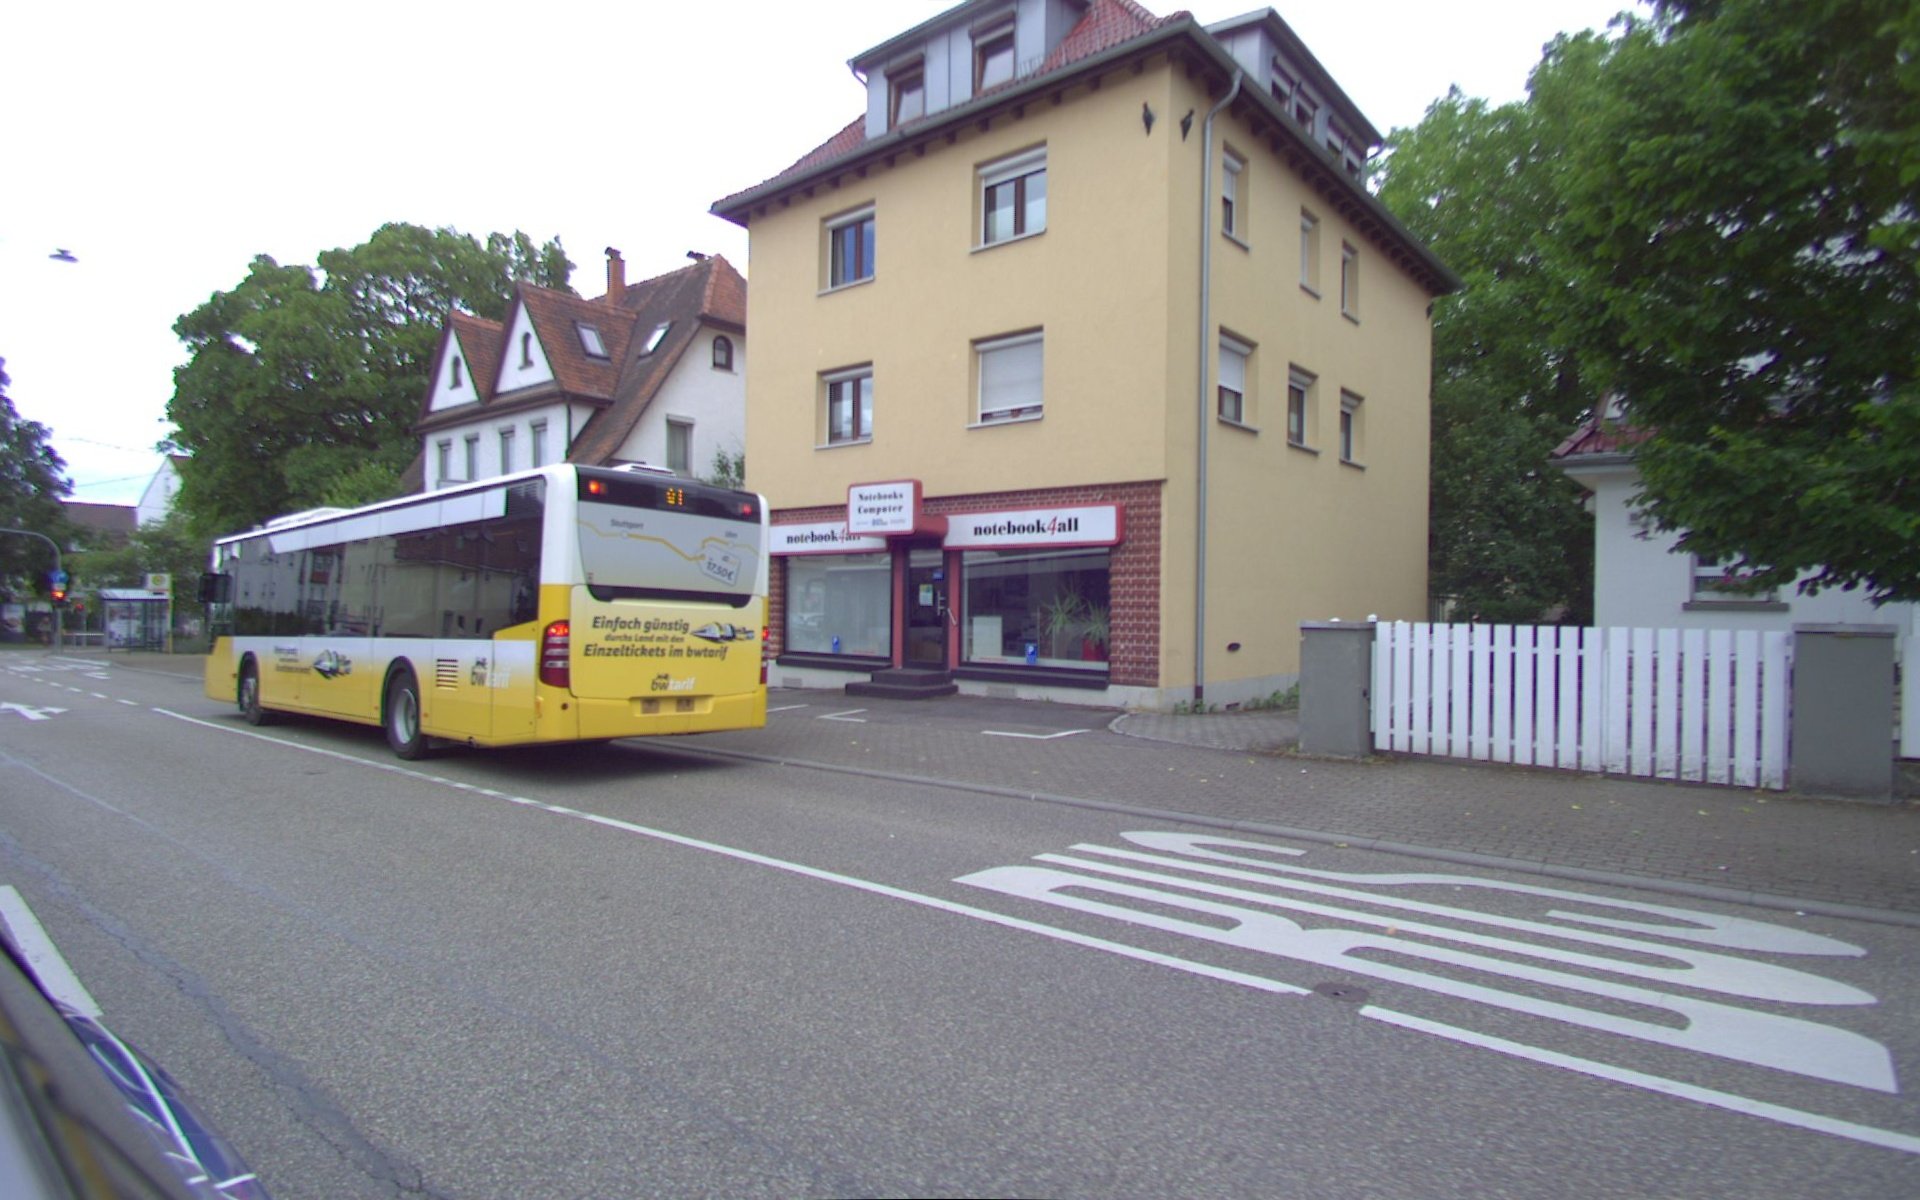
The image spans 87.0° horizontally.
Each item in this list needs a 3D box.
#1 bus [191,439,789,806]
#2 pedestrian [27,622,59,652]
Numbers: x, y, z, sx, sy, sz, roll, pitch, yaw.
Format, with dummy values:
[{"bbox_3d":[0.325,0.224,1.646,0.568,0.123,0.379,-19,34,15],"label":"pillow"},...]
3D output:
[{"bbox_3d":[-7.159,0.329,13.551,12.064,3.109,2.604,-1,-3,41],"label":"bus"},{"bbox_3d":[-57.270,2.302,63.241,1.210,1.767,0.825,-1,1,-8],"label":"pedestrian"}]
